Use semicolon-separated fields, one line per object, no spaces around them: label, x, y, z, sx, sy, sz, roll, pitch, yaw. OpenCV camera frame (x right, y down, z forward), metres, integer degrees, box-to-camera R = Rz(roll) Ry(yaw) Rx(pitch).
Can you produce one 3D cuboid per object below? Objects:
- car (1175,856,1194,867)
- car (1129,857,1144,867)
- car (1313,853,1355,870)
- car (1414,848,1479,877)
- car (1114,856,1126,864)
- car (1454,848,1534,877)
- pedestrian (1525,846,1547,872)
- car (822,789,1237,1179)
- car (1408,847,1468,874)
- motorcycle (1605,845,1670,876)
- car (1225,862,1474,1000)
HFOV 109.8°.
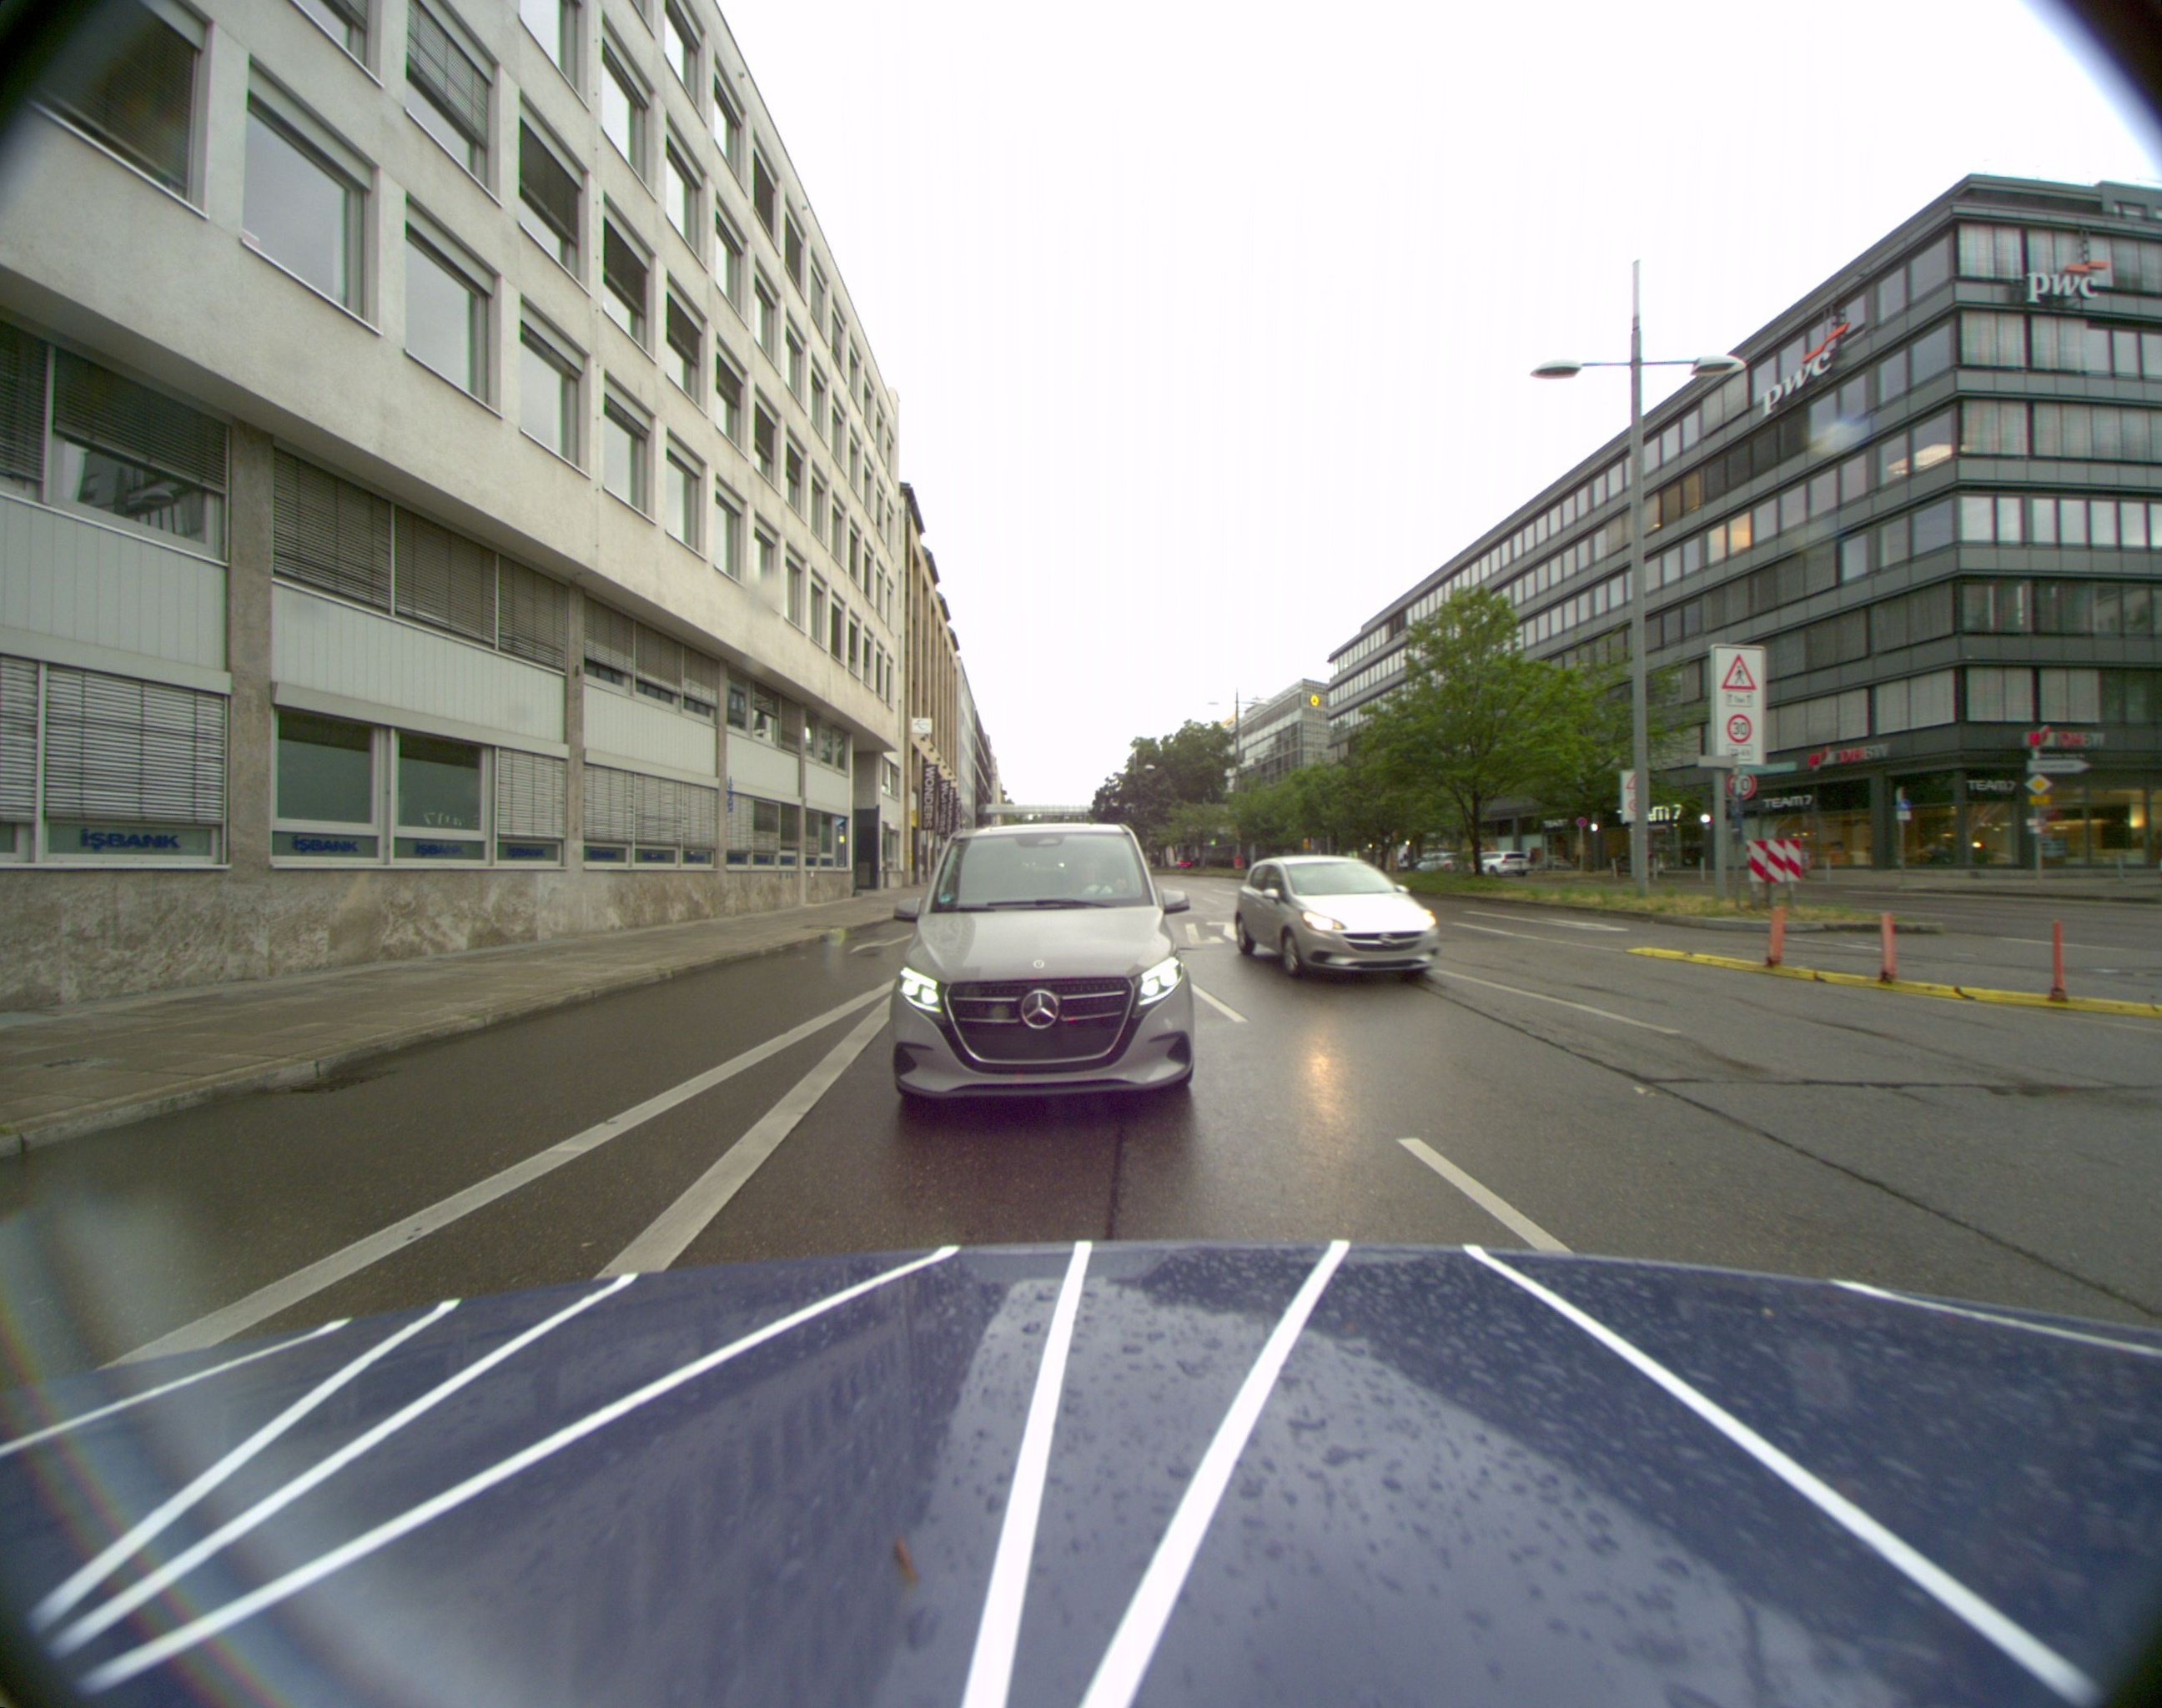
car;14.677;1.015;107.546;1.999;1.535;4.482;-1;0;-1
car;9.716;1.397;133.463;1.742;1.717;4.491;5;-1;-5
car;22.296;0.639;67.021;1.814;1.436;4.307;-2;0;-7
car;21.052;0.484;43.958;1.788;1.564;3.690;-1;0;-4
car;7.481;1.085;144.592;1.687;1.423;4.081;-1;0;-5
car;24.021;0.451;44.405;1.814;1.477;4.771;-4;0;-4
pedestrian;28.820;0.332;48.133;0.786;1.628;0.965;-1;0;-4
car;-0.372;0.697;6.580;2.163;2.014;5.040;-1;0;-3
car;23.683;0.444;50.539;1.813;1.651;4.309;-2;0;-2
motorcycle;26.978;0.304;36.860;0.861;1.386;2.364;-5;2;-30
car;3.297;0.854;10.206;1.853;1.434;3.869;-1;0;-2
